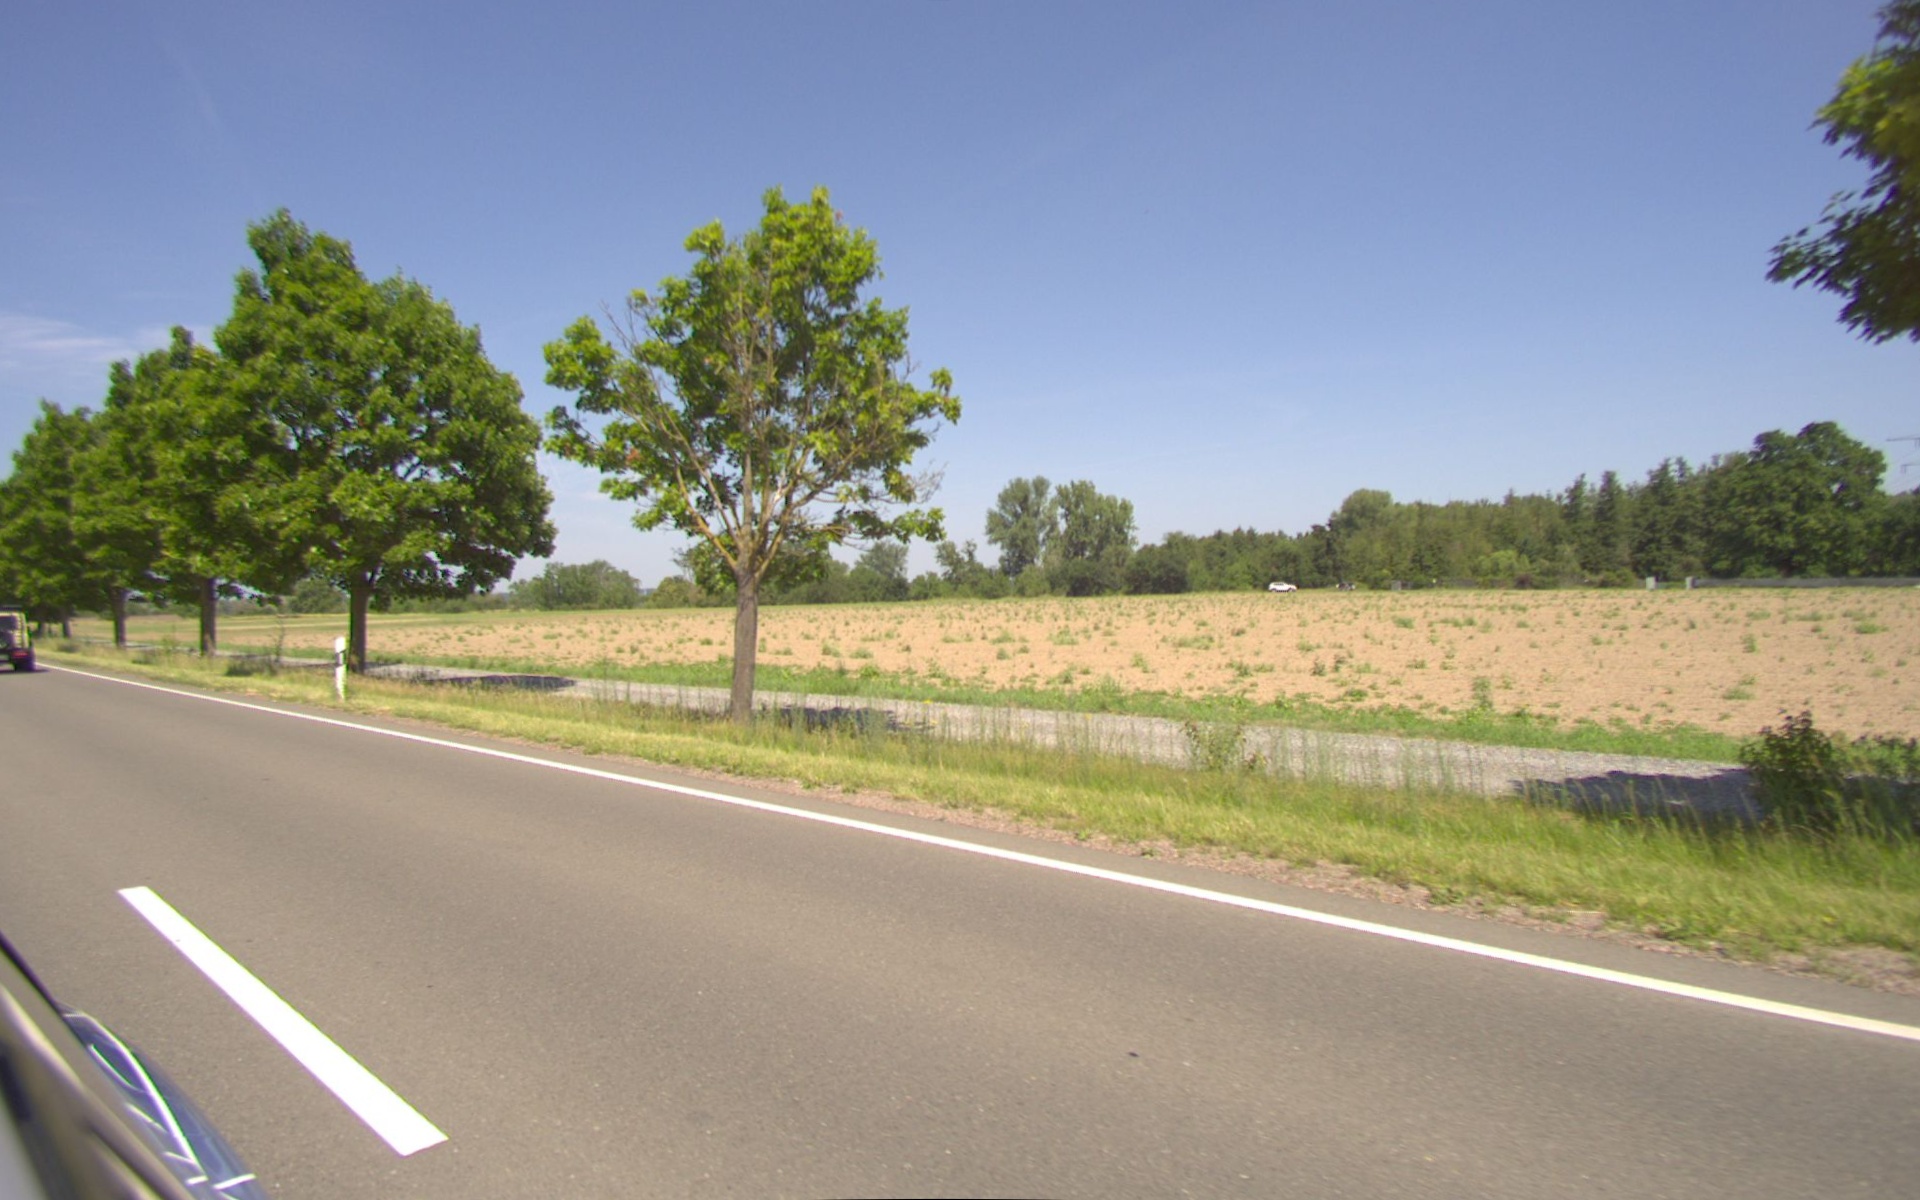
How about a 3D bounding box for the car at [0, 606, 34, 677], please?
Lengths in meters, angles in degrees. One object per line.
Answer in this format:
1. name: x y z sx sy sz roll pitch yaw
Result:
1. car: -26.993 1.132 27.948 3.998 1.863 1.663 -1 0 41
